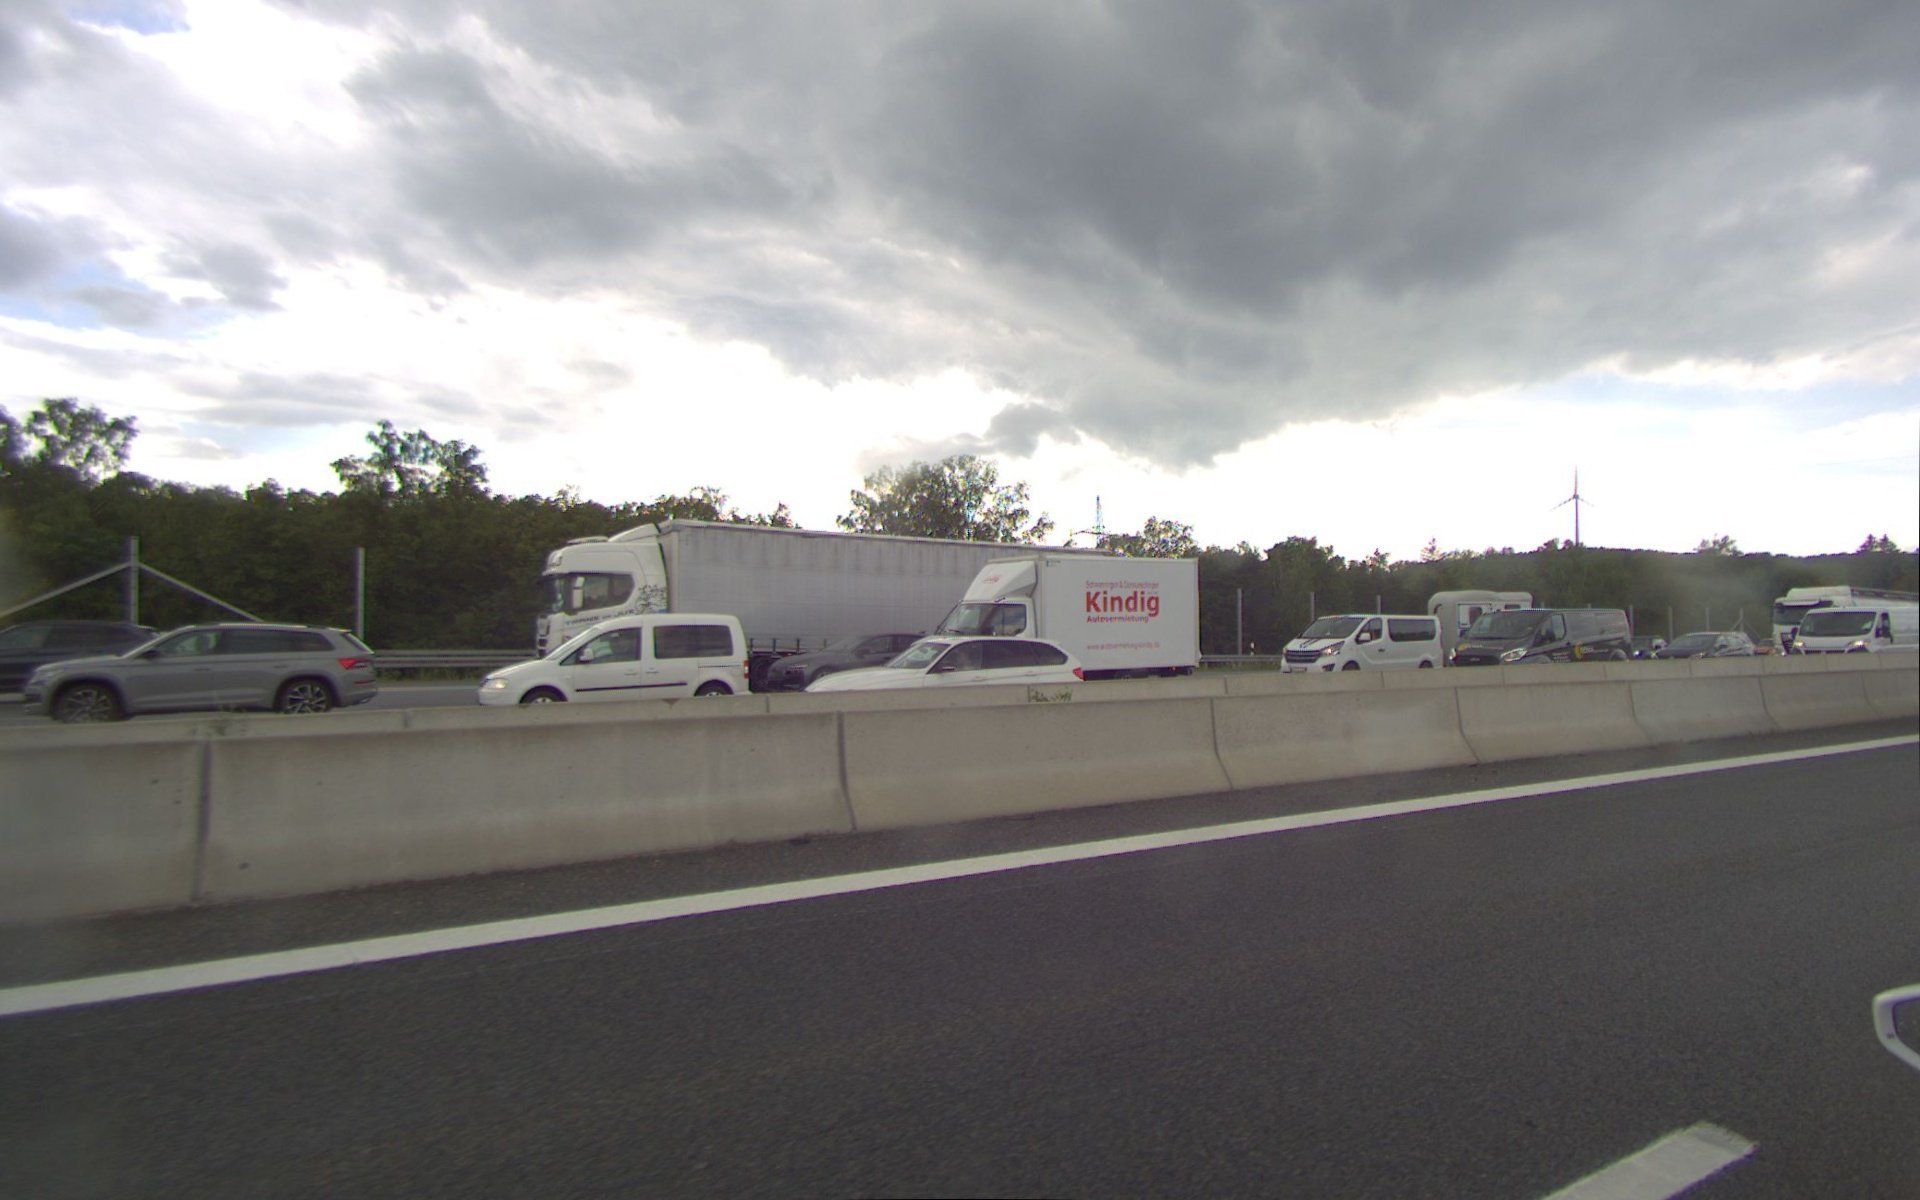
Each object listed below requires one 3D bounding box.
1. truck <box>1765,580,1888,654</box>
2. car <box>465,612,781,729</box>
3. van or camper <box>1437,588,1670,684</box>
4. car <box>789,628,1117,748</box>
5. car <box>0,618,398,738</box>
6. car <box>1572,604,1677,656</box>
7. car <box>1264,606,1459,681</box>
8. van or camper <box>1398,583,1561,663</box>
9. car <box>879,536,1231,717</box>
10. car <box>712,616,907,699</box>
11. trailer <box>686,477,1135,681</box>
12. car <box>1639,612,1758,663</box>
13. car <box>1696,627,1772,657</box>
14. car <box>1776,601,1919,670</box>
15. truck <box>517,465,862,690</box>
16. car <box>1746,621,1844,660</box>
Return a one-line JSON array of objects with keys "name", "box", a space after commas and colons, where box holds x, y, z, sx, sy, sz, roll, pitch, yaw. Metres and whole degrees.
[{"name": "truck", "box": [44.076, 0.827, 51.064, 6.720, 3.561, 2.715, 0, 0, -30]}, {"name": "car", "box": [-5.515, 1.058, 16.633, 4.739, 1.689, 1.704, 0, 0, -30]}, {"name": "van or camper", "box": [14.108, 0.821, 23.737, 6.272, 2.040, 1.984, 1, -1, -31]}, {"name": "car", "box": [-0.021, 1.231, 15.357, 4.876, 1.513, 1.634, 0, 0, -30]}, {"name": "car", "box": [-12.231, 1.159, 16.470, 5.254, 1.689, 1.704, 0, 0, -30]}, {"name": "car", "box": [27.189, 1.209, 41.064, 3.953, 1.995, 2.085, 1, -1, -30]}, {"name": "car", "box": [10.892, 1.097, 27.096, 5.598, 1.848, 1.849, 1, 0, -30]}, {"name": "van or camper", "box": [15.683, 0.659, 30.248, 4.912, 2.215, 2.085, 0, 0, -30]}, {"name": "car", "box": [2.184, 0.509, 21.540, 7.537, 3.344, 2.486, 0, 0, -30]}, {"name": "car", "box": [-3.336, 1.208, 22.397, 3.967, 1.689, 1.704, 0, 0, -30]}, {"name": "trailer", "box": [-0.955, -0.464, 29.017, 13.145, 4.921, 3.130, 0, 0, -32]}, {"name": "car", "box": [26.109, 1.289, 35.490, 4.374, 1.683, 1.854, 1, -1, -30]}, {"name": "car", "box": [42.233, 2.251, 54.780, 3.953, 1.550, 1.984, 1, -1, -30]}, {"name": "car", "box": [28.099, 1.052, 31.503, 5.565, 1.995, 2.085, 0, 0, -30]}, {"name": "truck", "box": [-6.719, -0.463, 25.429, 7.936, 4.921, 3.130, 0, 0, -32]}, {"name": "car", "box": [34.700, 1.665, 41.715, 4.301, 1.523, 1.791, 1, -1, -30]}]
